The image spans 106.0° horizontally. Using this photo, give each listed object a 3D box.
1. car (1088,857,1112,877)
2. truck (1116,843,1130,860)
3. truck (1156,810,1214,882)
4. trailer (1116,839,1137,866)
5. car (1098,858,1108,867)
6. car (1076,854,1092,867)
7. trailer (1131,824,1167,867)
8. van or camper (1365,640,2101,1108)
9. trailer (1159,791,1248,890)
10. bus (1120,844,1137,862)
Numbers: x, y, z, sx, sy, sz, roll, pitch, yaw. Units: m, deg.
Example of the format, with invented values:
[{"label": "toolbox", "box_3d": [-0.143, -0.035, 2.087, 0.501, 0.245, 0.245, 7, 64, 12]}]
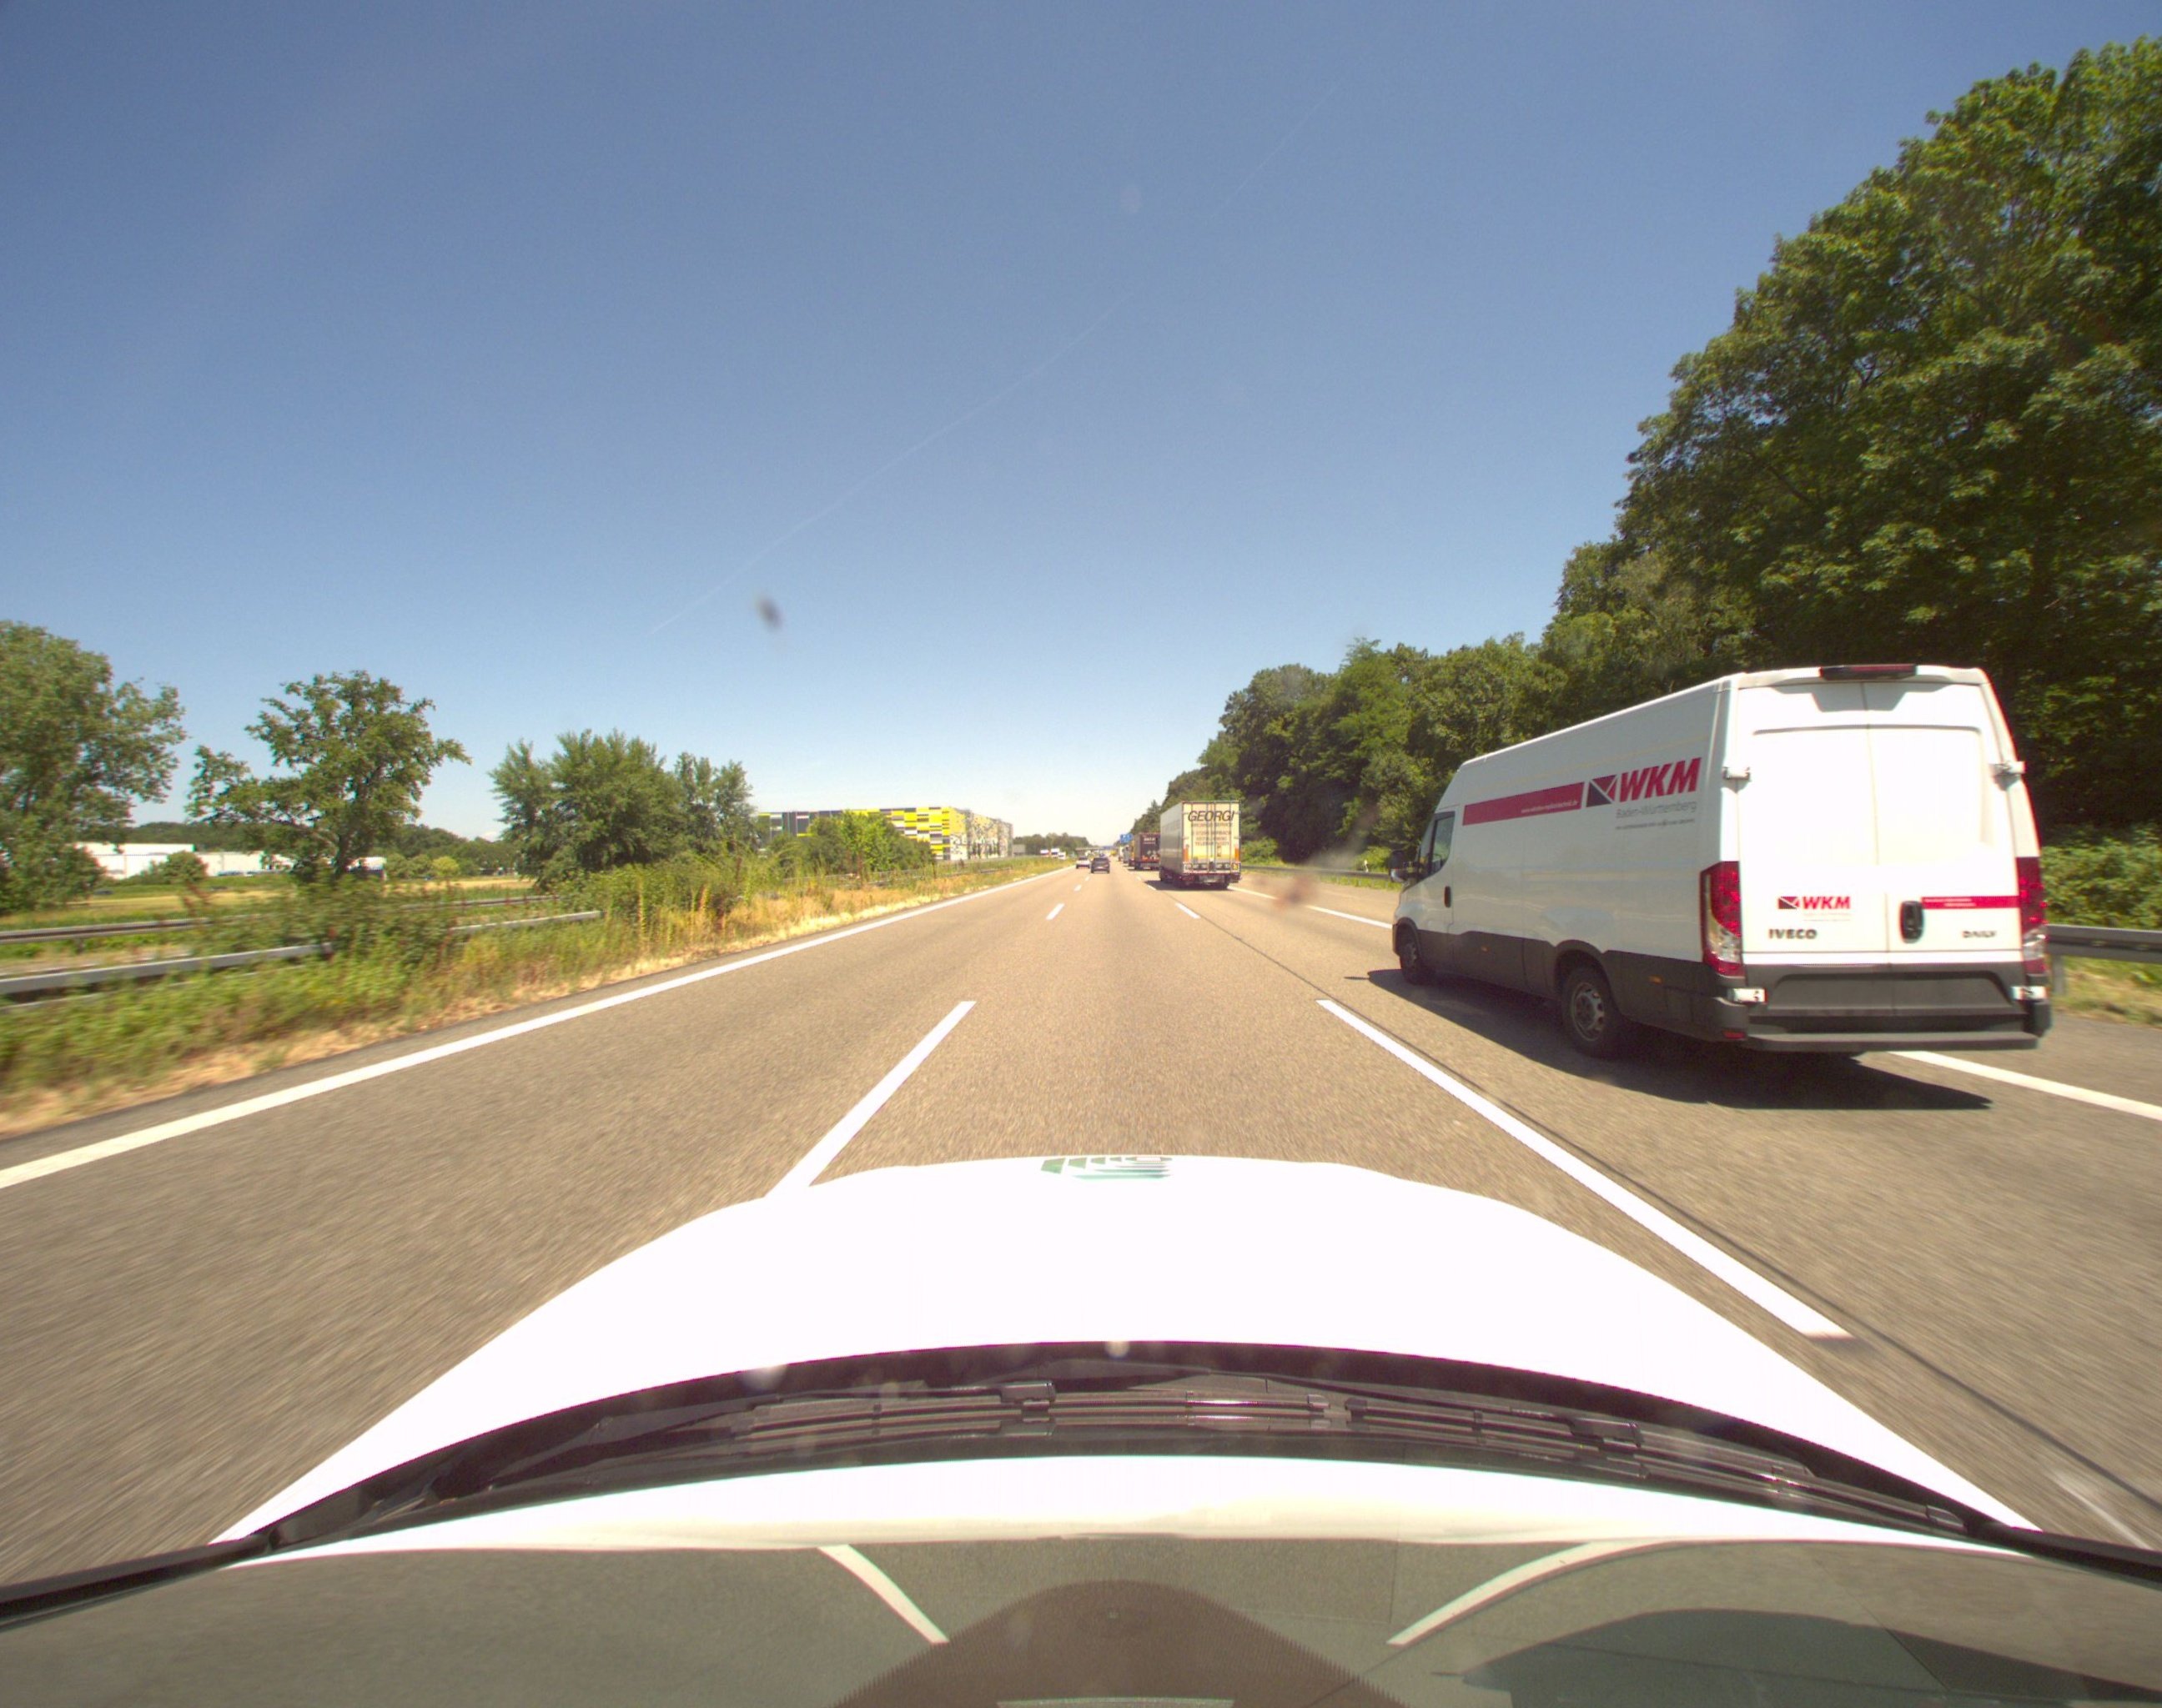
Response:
[{"label": "car", "box_3d": [1.860, 1.179, 78.121, 2.208, 1.790, 5.395, -2, 0, 1]}, {"label": "truck", "box_3d": [11.088, -0.619, 216.886, 3.409, 4.126, 9.570, -2, 0, 3]}, {"label": "truck", "box_3d": [6.235, -0.465, 49.711, 2.991, 4.125, 5.254, -1, -1, 1]}, {"label": "trailer", "box_3d": [6.866, -0.208, 123.379, 2.824, 3.954, 11.687, -1, 0, 1]}, {"label": "car", "box_3d": [4.497, 1.643, 163.495, 1.934, 1.706, 4.001, -1, 0, 1]}, {"label": "car", "box_3d": [0.425, 0.821, 107.075, 1.986, 1.728, 4.131, -1, 0, 1]}, {"label": "trailer", "box_3d": [7.611, -0.810, 92.954, 3.095, 4.507, 14.898, 0, 0, 1]}, {"label": "van or camper", "box_3d": [4.805, 0.128, 7.843, 2.015, 2.637, 6.489, 0, 0, 1]}, {"label": "trailer", "box_3d": [5.997, -0.557, 42.373, 2.982, 4.289, 13.422, 0, 0, 2]}, {"label": "bus", "box_3d": [9.640, -0.209, 165.425, 3.052, 3.326, 8.274, -2, 0, 0]}]
